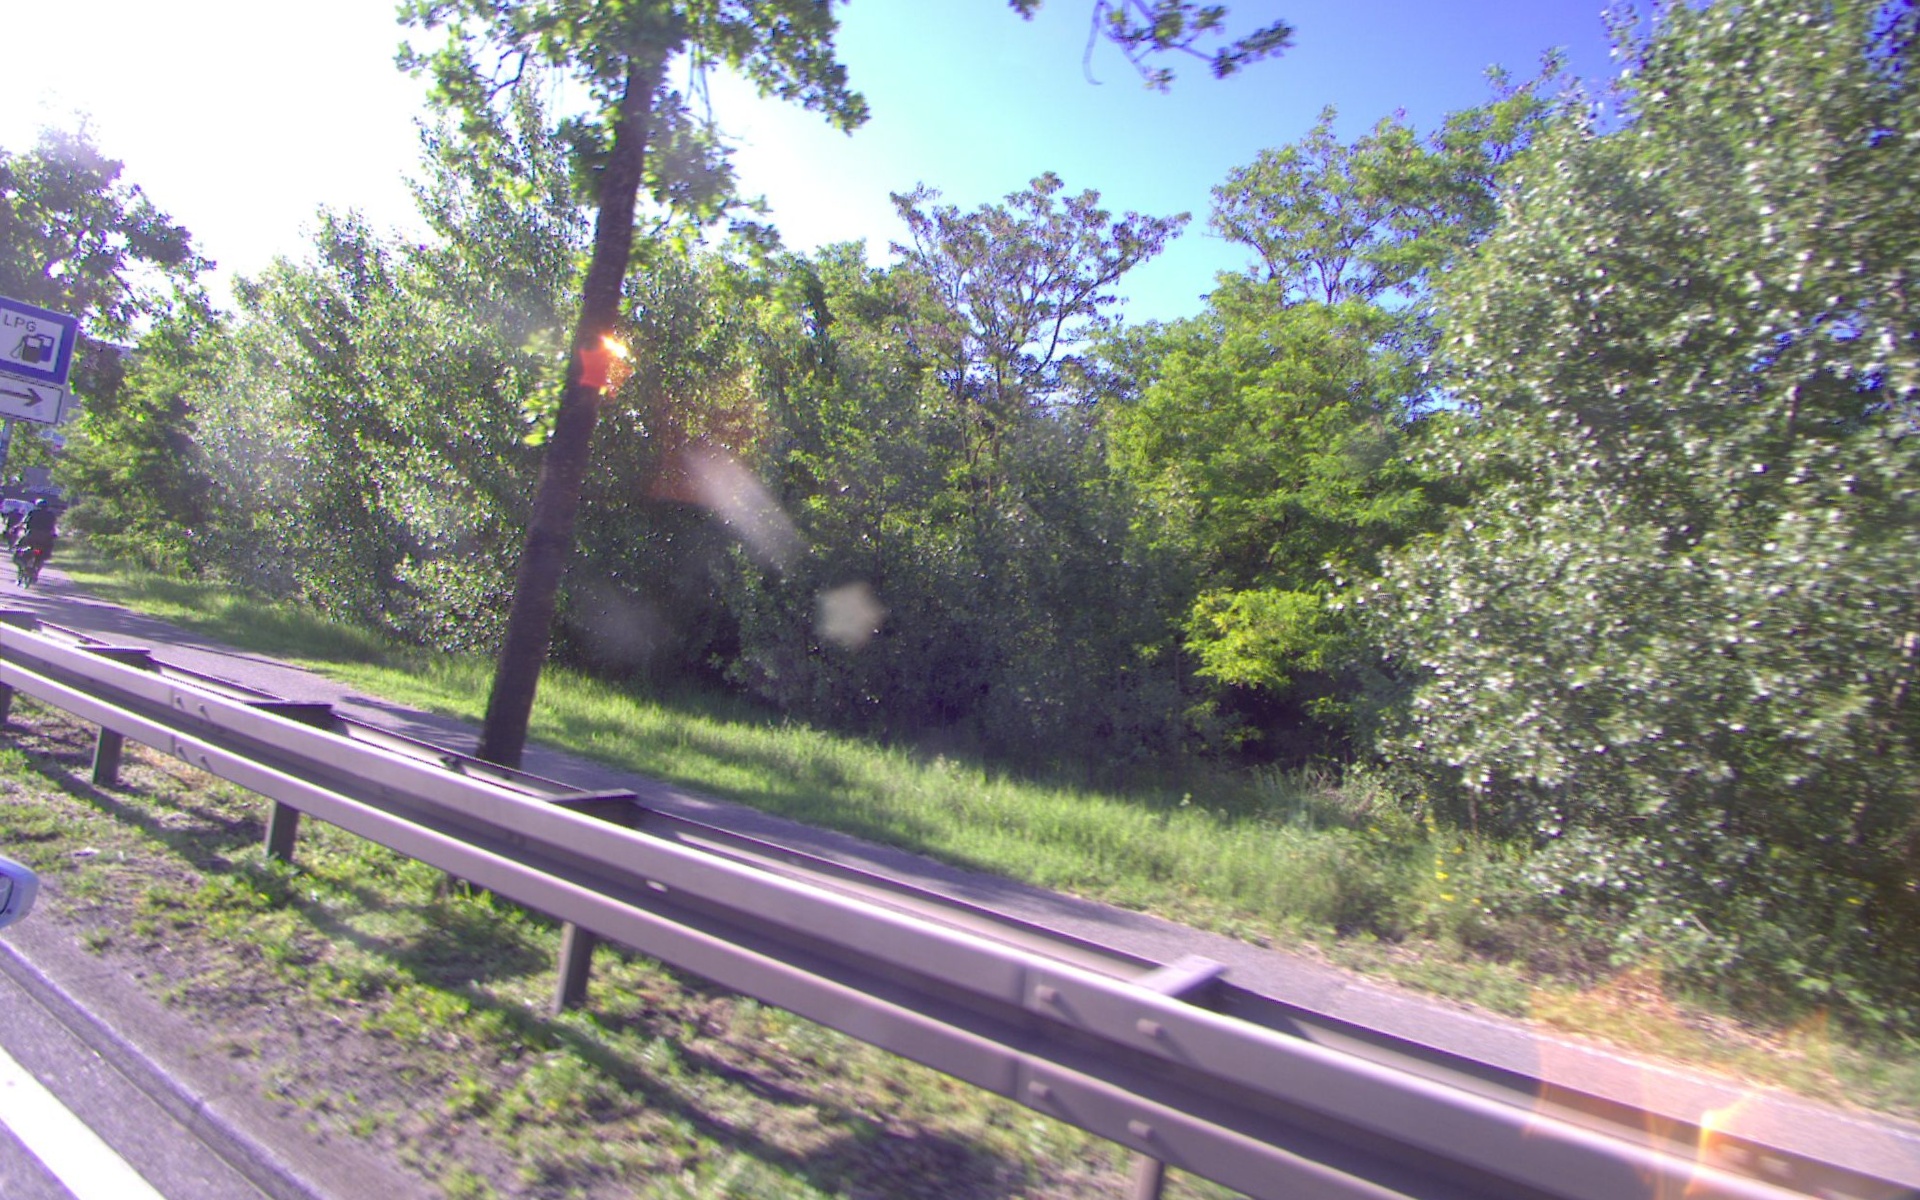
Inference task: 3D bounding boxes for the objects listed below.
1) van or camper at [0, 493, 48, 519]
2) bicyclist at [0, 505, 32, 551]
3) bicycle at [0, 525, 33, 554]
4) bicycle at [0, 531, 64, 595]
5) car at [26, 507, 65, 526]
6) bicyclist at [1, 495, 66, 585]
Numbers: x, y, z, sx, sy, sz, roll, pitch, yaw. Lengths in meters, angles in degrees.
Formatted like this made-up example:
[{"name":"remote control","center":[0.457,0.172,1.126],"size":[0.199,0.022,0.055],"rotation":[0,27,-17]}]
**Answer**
[{"name":"van or camper","center":[-90.316,-9.009,96.914],"size":[1.808,1.810,4.527],"rotation":[11,-3,-19]},{"name":"bicyclist","center":[-39.325,-2.997,41.915],"size":[0.672,1.797,0.938],"rotation":[8,-1,-37]},{"name":"bicycle","center":[-39.478,-2.544,42.082],"size":[0.692,1.108,2.096],"rotation":[8,-1,-37]},{"name":"bicycle","center":[-17.876,-0.721,19.355],"size":[1.896,1.086,0.699],"rotation":[5,-2,44]},{"name":"car","center":[-103.128,-9.441,113.482],"size":[1.690,1.539,3.730],"rotation":[11,-2,-17]},{"name":"bicyclist","center":[-17.864,-1.162,19.392],"size":[0.991,1.597,0.706],"rotation":[7,-1,44]}]
